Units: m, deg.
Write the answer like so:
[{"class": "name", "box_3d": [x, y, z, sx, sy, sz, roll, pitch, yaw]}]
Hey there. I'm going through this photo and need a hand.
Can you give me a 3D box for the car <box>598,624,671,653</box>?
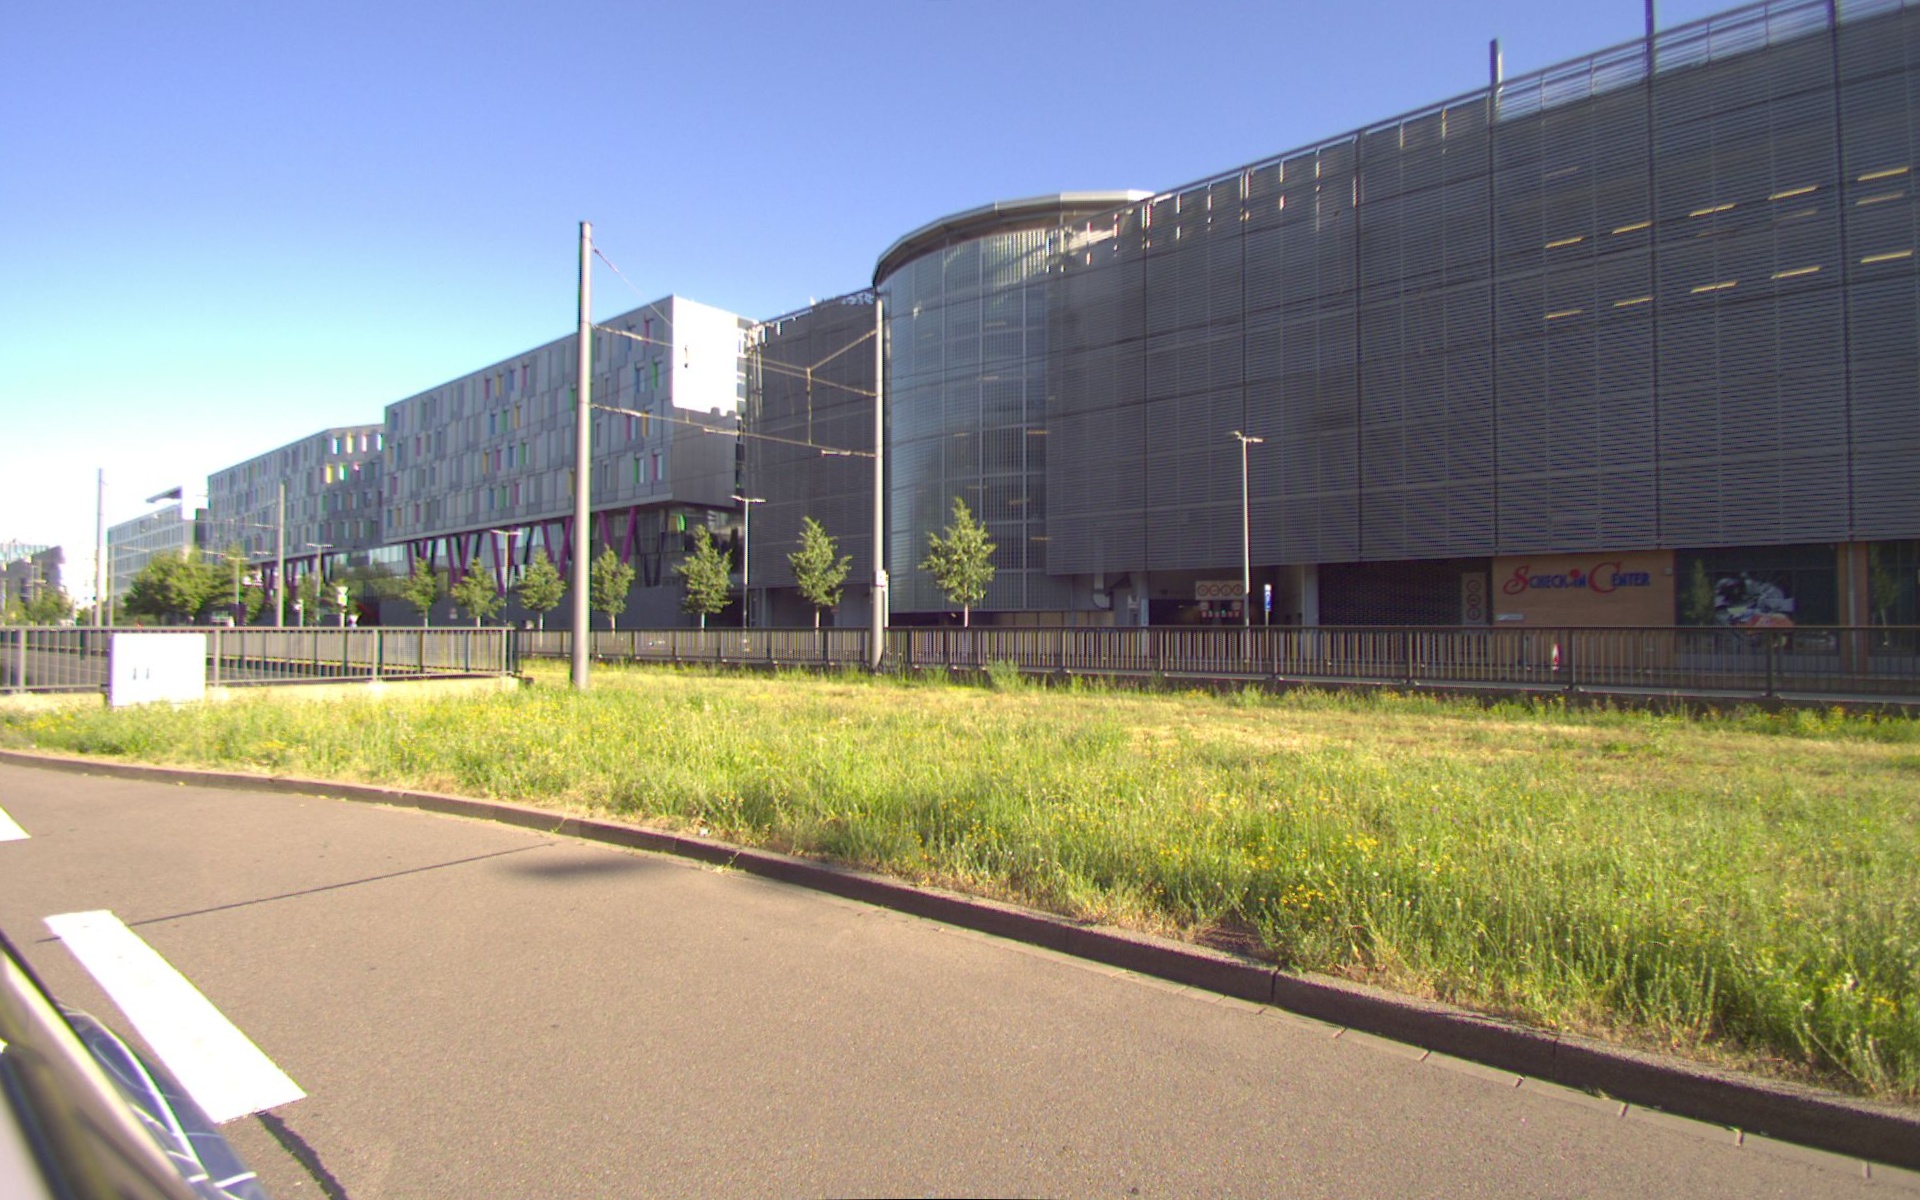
[{"class": "car", "box_3d": [-18.122, 2.128, 56.262, 4.242, 1.512, 1.972, -2, -2, 42]}]
